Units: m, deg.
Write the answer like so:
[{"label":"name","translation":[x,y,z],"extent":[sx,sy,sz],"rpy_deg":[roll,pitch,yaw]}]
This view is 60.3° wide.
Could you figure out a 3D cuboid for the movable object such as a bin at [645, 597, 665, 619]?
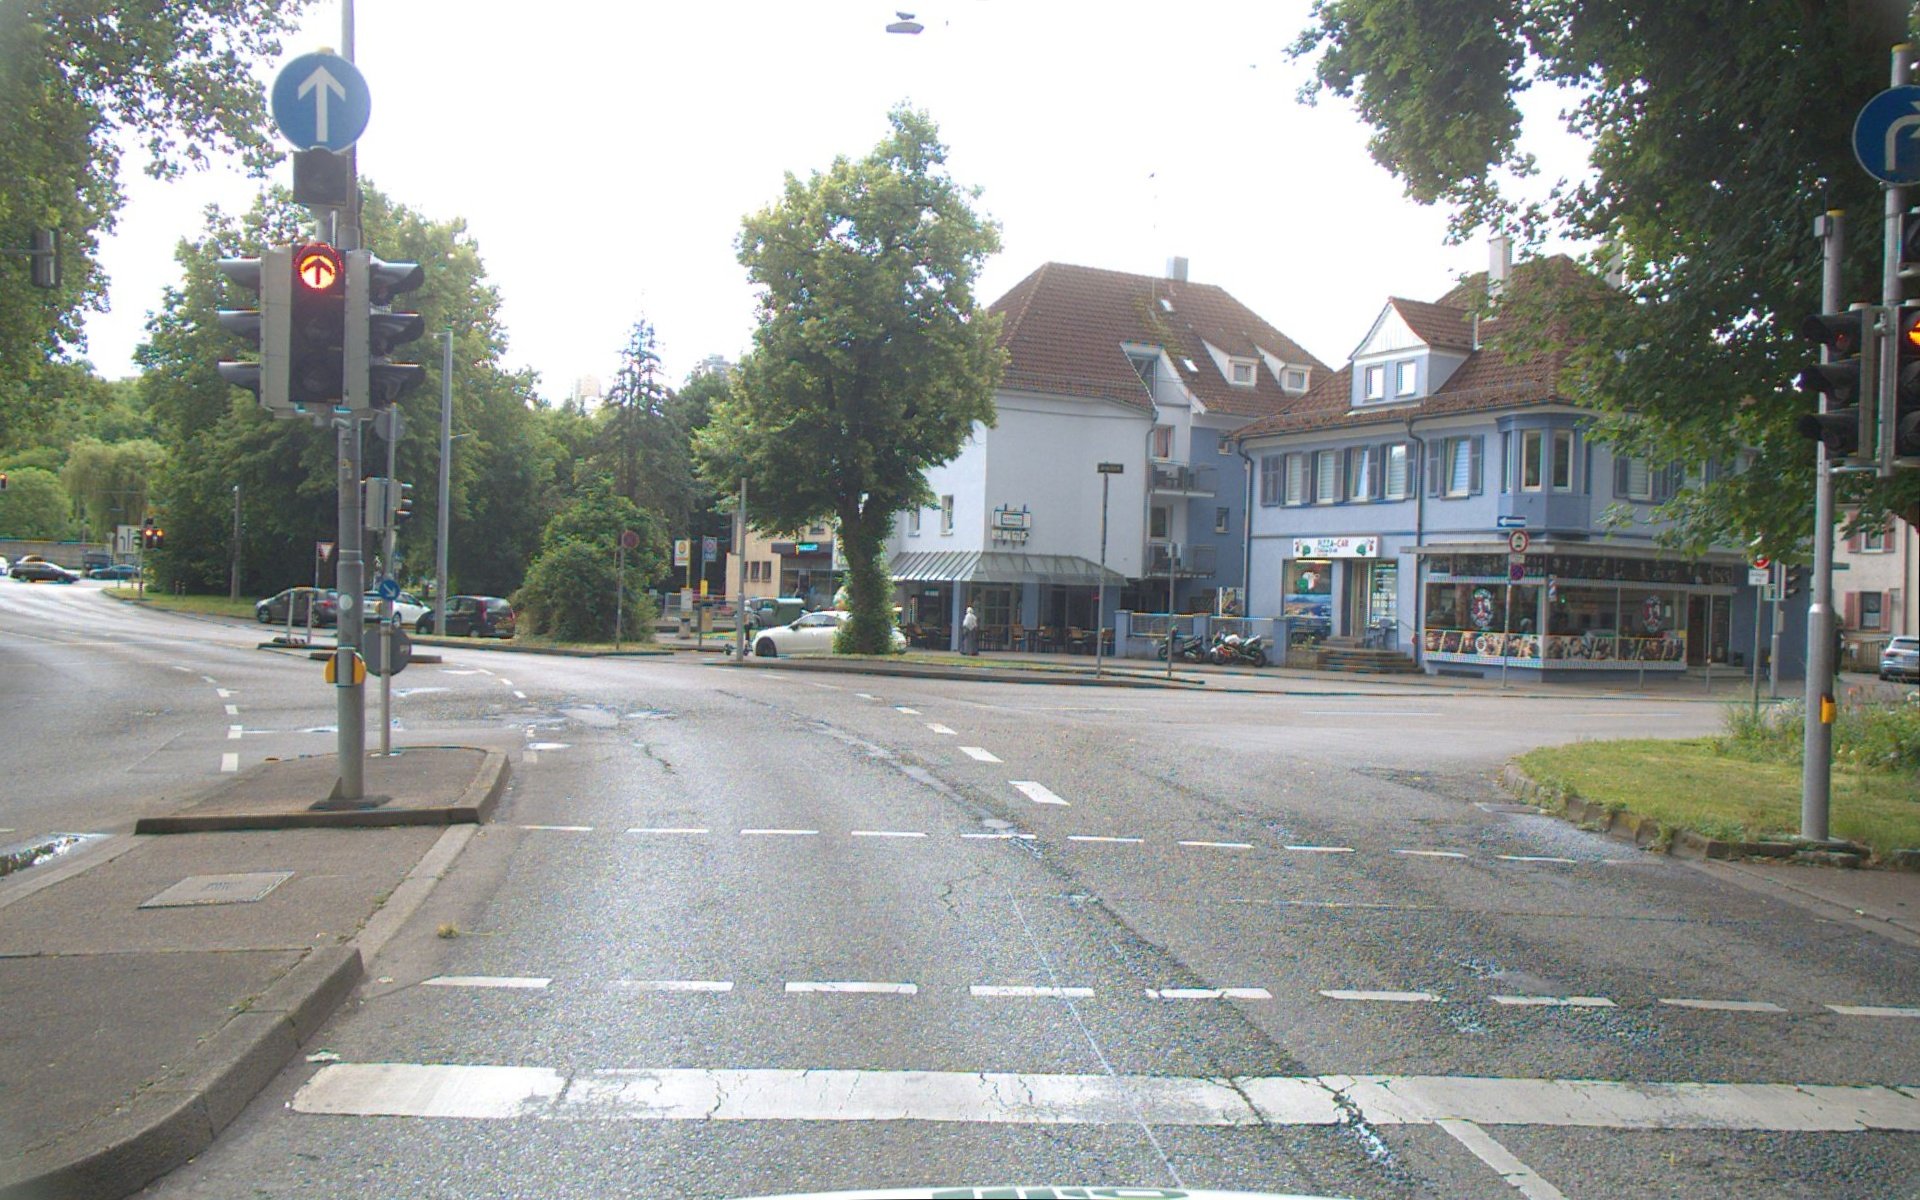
[{"label":"movable object such as a bin","translation":[-15.856,0.398,85.914],"extent":[0.937,1.135,0.381],"rpy_deg":[1,0,-22]}]

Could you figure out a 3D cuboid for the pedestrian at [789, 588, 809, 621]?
[{"label":"pedestrian","translation":[-7.780,0.216,79.950],"extent":[0.670,1.572,0.699],"rpy_deg":[2,0,-35]}]

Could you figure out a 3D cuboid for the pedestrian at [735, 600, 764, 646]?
[{"label":"pedestrian","translation":[-7.307,0.783,57.332],"extent":[0.694,1.572,0.675],"rpy_deg":[1,0,39]}]

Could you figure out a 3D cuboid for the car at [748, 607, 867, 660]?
[{"label":"car","translation":[-4.247,0.918,45.957],"extent":[3.110,1.378,1.435],"rpy_deg":[1,0,34]}]

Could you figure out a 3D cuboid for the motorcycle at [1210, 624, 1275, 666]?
[{"label":"motorcycle","translation":[8.270,1.312,48.479],"extent":[1.765,1.141,0.692],"rpy_deg":[1,0,38]}]

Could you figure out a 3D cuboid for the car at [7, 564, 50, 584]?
[{"label":"car","translation":[-102.218,-2.821,181.490],"extent":[3.948,2.049,1.978],"rpy_deg":[1,0,-32]}]

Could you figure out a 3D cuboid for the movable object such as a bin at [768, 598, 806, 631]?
[{"label":"movable object such as a bin","translation":[-7.721,0.660,73.841],"extent":[1.424,1.433,0.959],"rpy_deg":[1,0,-27]}]

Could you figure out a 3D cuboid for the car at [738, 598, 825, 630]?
[{"label":"car","translation":[-8.161,0.644,75.731],"extent":[3.690,1.368,1.421],"rpy_deg":[1,0,-27]}]

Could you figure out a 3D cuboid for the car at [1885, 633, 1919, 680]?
[{"label":"car","translation":[29.849,1.740,51.413],"extent":[1.471,1.393,3.164],"rpy_deg":[1,0,38]}]

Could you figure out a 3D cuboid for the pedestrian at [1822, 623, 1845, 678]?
[{"label":"pedestrian","translation":[25.165,1.453,47.655],"extent":[0.451,1.544,0.584],"rpy_deg":[0,-1,41]}]

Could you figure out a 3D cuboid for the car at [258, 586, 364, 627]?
[{"label":"car","translation":[-24.862,0.246,63.393],"extent":[3.469,1.490,1.586],"rpy_deg":[1,0,12]}]

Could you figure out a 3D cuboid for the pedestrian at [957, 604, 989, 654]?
[{"label":"pedestrian","translation":[0.416,0.938,53.136],"extent":[0.754,1.572,0.675],"rpy_deg":[1,-1,38]}]

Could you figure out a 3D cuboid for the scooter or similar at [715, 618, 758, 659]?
[{"label":"scooter or similar","translation":[-5.733,0.983,42.540],"extent":[0.408,1.029,1.567],"rpy_deg":[1,0,20]}]

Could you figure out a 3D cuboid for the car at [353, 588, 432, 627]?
[{"label":"car","translation":[-22.671,0.308,66.183],"extent":[1.512,1.490,3.398],"rpy_deg":[1,0,10]}]

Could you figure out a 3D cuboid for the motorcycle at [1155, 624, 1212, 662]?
[{"label":"motorcycle","translation":[6.789,1.295,50.236],"extent":[1.609,1.082,0.690],"rpy_deg":[1,0,44]}]

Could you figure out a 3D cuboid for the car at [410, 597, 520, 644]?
[{"label":"car","translation":[-16.010,0.660,53.461],"extent":[3.519,1.418,1.468],"rpy_deg":[1,0,32]}]
